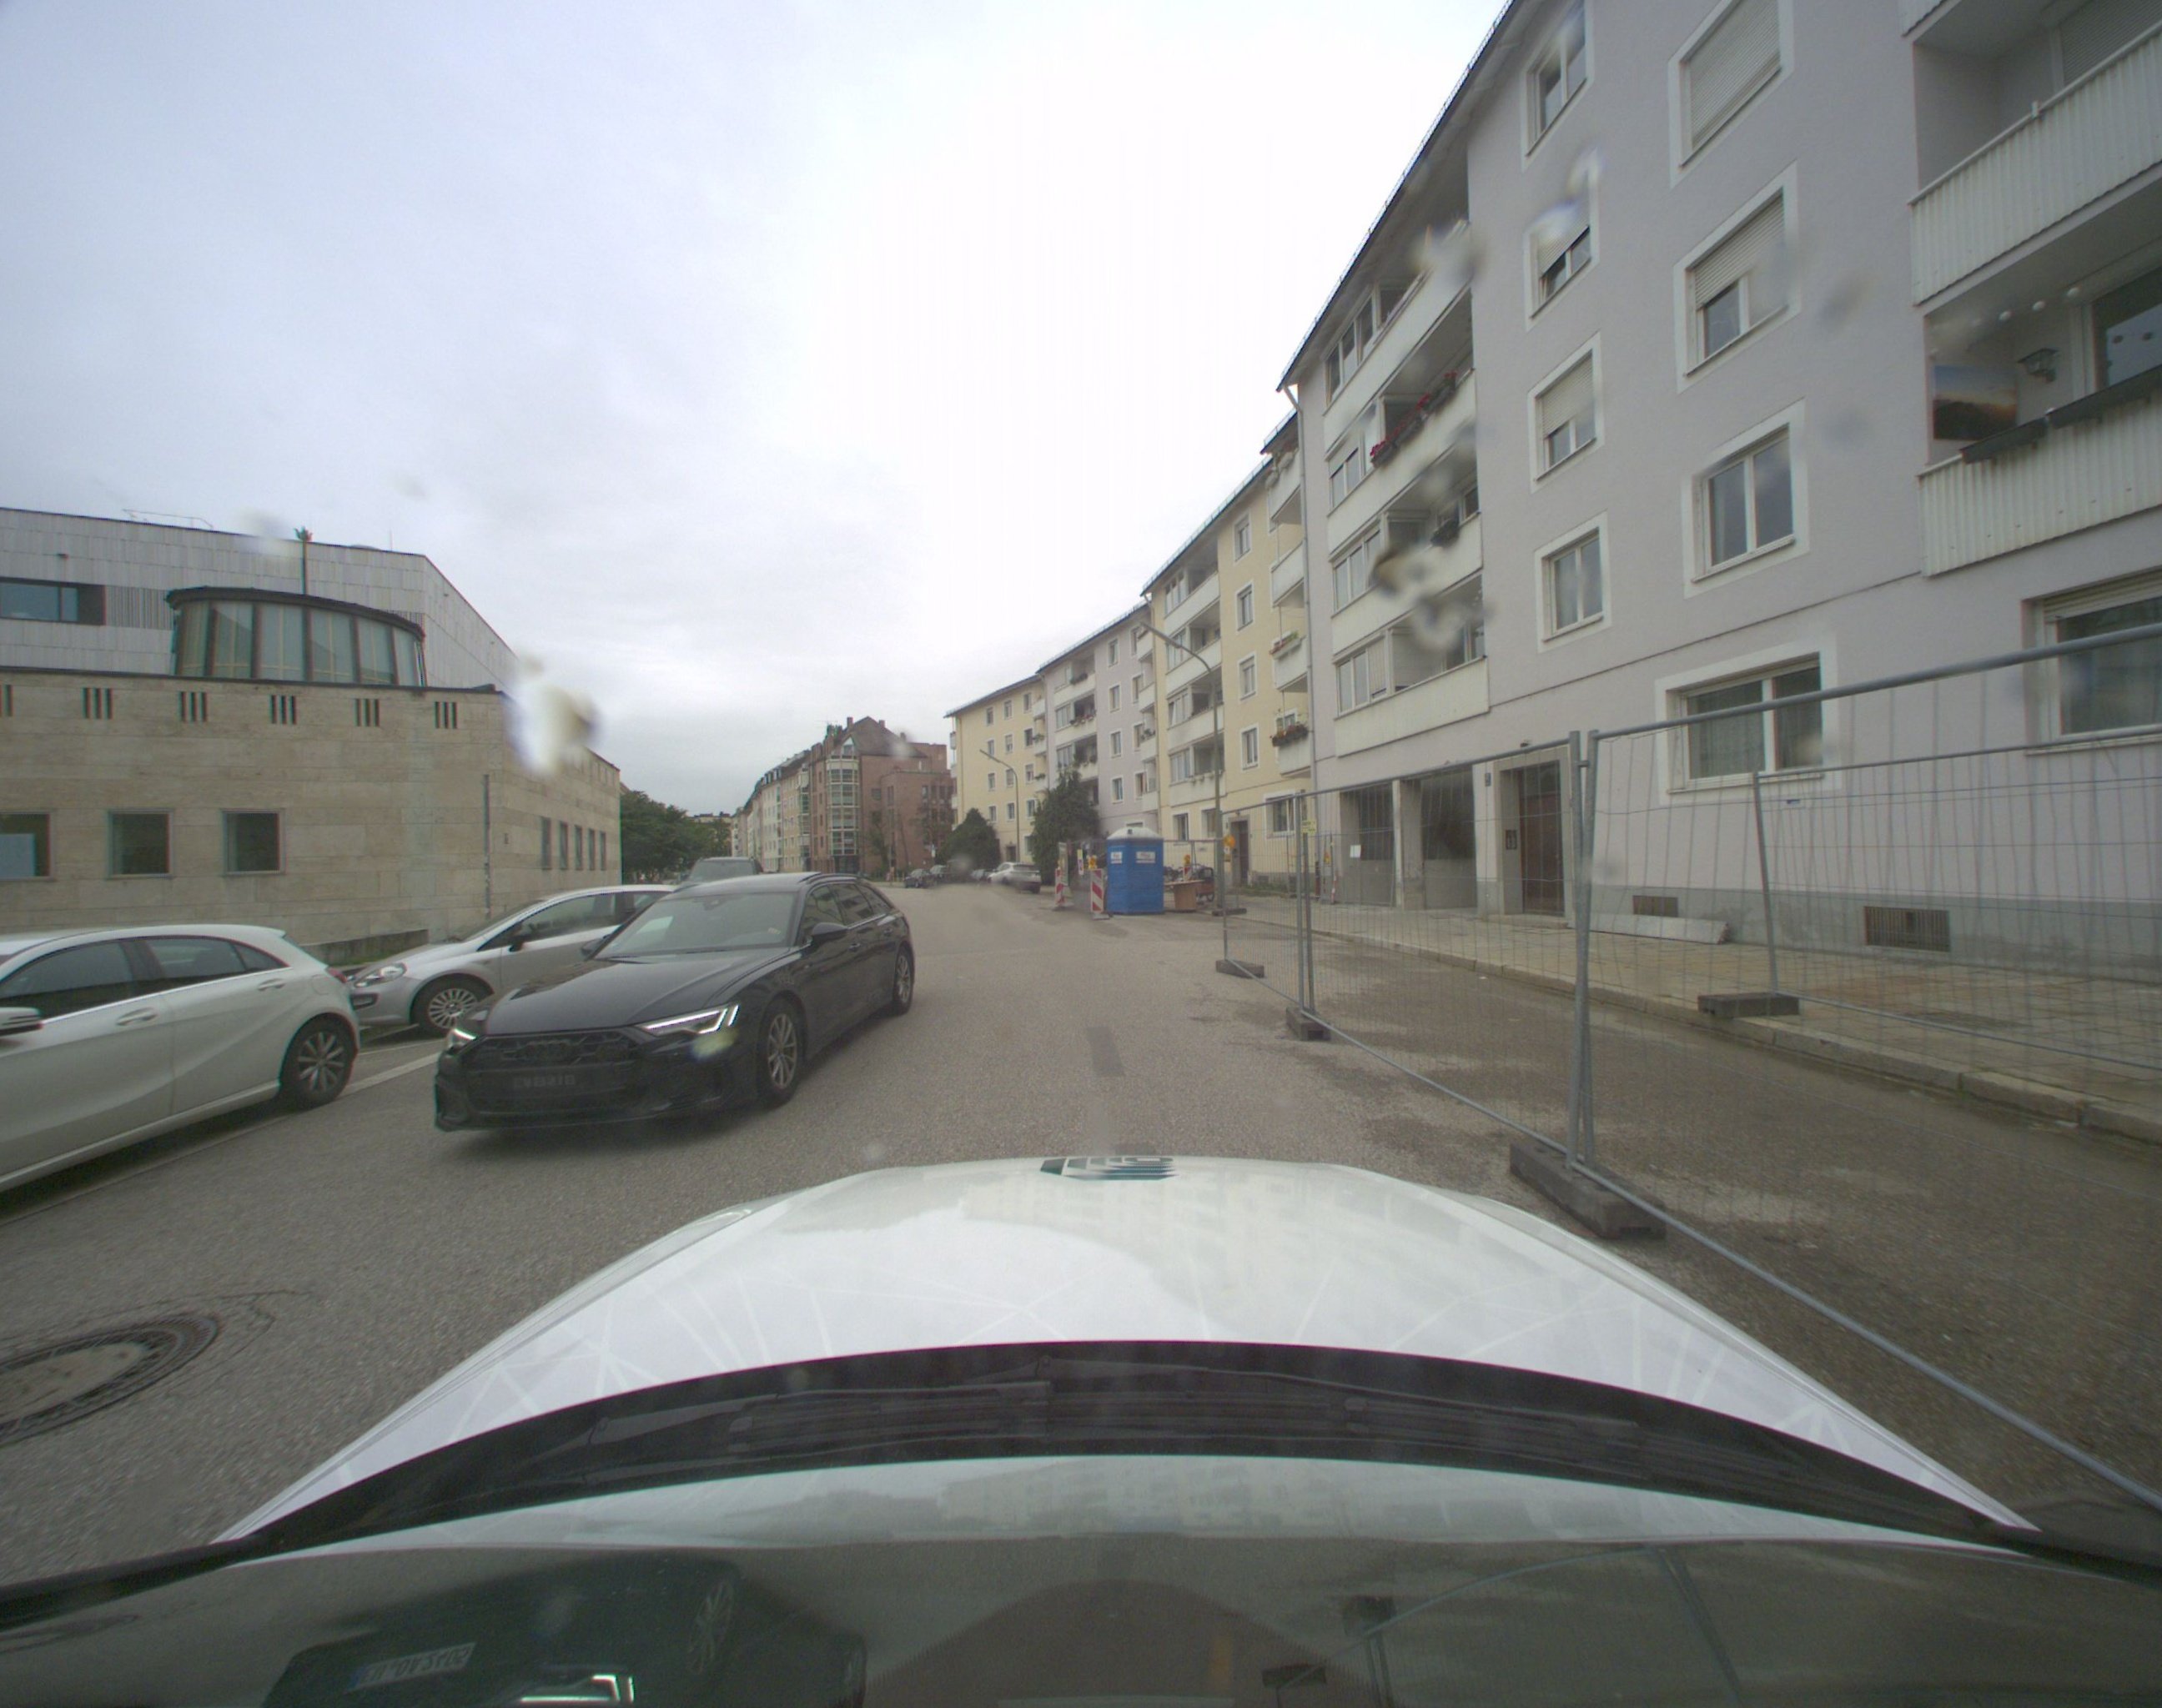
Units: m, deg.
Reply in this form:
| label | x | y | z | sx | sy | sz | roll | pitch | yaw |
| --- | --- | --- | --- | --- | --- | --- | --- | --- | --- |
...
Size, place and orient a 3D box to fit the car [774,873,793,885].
| label | x | y | z | sx | sy | sz | roll | pitch | yaw |
| --- | --- | --- | --- | --- | --- | --- | --- | --- | --- |
| car | -36.806 | 3.104 | 100.671 | 1.643 | 1.483 | 3.575 | -1 | -1 | -30 |

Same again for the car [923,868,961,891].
| label | x | y | z | sx | sy | sz | roll | pitch | yaw |
| --- | --- | --- | --- | --- | --- | --- | --- | --- | --- |
| car | -9.666 | 1.773 | 56.447 | 1.789 | 1.510 | 3.691 | -1 | -1 | -23 |

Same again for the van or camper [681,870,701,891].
| label | x | y | z | sx | sy | sz | roll | pitch | yaw |
| --- | --- | --- | --- | --- | --- | --- | --- | --- | --- |
| van or camper | -49.847 | 3.402 | 104.003 | 2.108 | 2.551 | 4.728 | -1 | -1 | -27 |

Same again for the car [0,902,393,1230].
| label | x | y | z | sx | sy | sz | roll | pitch | yaw |
| --- | --- | --- | --- | --- | --- | --- | --- | --- | --- |
| car | -6.304 | 1.155 | 4.387 | 1.993 | 1.451 | 4.201 | -4 | 0 | -9 |

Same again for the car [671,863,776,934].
| label | x | y | z | sx | sy | sz | roll | pitch | yaw |
| --- | --- | --- | --- | --- | --- | --- | --- | --- | --- |
| car | -9.983 | 1.187 | 23.118 | 2.056 | 1.736 | 4.858 | -1 | -1 | -16 |

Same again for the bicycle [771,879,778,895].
| label | x | y | z | sx | sy | sz | roll | pitch | yaw |
| --- | --- | --- | --- | --- | --- | --- | --- | --- | --- |
| bicycle | -19.229 | 2.049 | 51.089 | 0.390 | 0.969 | 1.704 | -1 | -1 | -20 |

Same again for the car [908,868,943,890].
| label | x | y | z | sx | sy | sz | roll | pitch | yaw |
| --- | --- | --- | --- | --- | --- | --- | --- | --- | --- |
| car | -11.563 | 1.837 | 60.469 | 1.789 | 1.510 | 3.691 | -2 | -1 | -23 |

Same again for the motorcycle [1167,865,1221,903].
| label | x | y | z | sx | sy | sz | roll | pitch | yaw |
| --- | --- | --- | --- | --- | --- | --- | --- | --- | --- |
| motorcycle | 3.836 | 1.013 | 27.994 | 0.933 | 1.221 | 2.494 | -1 | -1 | -15 |

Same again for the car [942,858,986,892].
| label | x | y | z | sx | sy | sz | roll | pitch | yaw |
| --- | --- | --- | --- | --- | --- | --- | --- | --- | --- |
| car | -7.454 | 1.311 | 51.496 | 1.789 | 1.976 | 3.691 | -3 | 0 | -23 |

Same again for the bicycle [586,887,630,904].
| label | x | y | z | sx | sy | sz | roll | pitch | yaw |
| --- | --- | --- | --- | --- | --- | --- | --- | --- | --- |
| bicycle | -25.810 | 2.267 | 44.471 | 2.043 | 0.886 | 0.668 | 3 | -3 | -31 |

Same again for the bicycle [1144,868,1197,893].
| label | x | y | z | sx | sy | sz | roll | pitch | yaw |
| --- | --- | --- | --- | --- | --- | --- | --- | --- | --- |
| bicycle | 4.120 | 1.205 | 37.398 | 2.236 | 1.069 | 0.915 | -1 | -1 | -15 |

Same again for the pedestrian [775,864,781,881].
| label | x | y | z | sx | sy | sz | roll | pitch | yaw |
| --- | --- | --- | --- | --- | --- | --- | --- | --- | --- |
| pedestrian | -27.134 | 1.643 | 72.895 | 0.463 | 1.460 | 0.440 | -1 | -2 | -20 |

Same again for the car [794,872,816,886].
| label | x | y | z | sx | sy | sz | roll | pitch | yaw |
| --- | --- | --- | --- | --- | --- | --- | --- | --- | --- |
| car | -31.184 | 2.791 | 91.902 | 1.643 | 1.483 | 3.575 | -1 | 0 | -30 |

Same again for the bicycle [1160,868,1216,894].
| label | x | y | z | sx | sy | sz | roll | pitch | yaw |
| --- | --- | --- | --- | --- | --- | --- | --- | --- | --- |
| bicycle | 4.727 | 1.188 | 35.990 | 2.236 | 1.069 | 0.915 | -1 | -1 | -15 |

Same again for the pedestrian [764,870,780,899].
| label | x | y | z | sx | sy | sz | roll | pitch | yaw |
| --- | --- | --- | --- | --- | --- | --- | --- | --- | --- |
| pedestrian | -19.264 | 1.868 | 50.749 | 0.735 | 1.768 | 0.917 | -2 | -1 | -10 |

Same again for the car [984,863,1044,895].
| label | x | y | z | sx | sy | sz | roll | pitch | yaw |
| --- | --- | --- | --- | --- | --- | --- | --- | --- | --- |
| car | -3.580 | 1.284 | 42.844 | 1.840 | 1.574 | 3.966 | -1 | -1 | -26 |

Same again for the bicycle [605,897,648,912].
| label | x | y | z | sx | sy | sz | roll | pitch | yaw |
| --- | --- | --- | --- | --- | --- | --- | --- | --- | --- |
| bicycle | -26.530 | 2.945 | 47.526 | 2.128 | 0.879 | 0.820 | 3 | -3 | -31 |

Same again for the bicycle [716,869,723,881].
| label | x | y | z | sx | sy | sz | roll | pitch | yaw |
| --- | --- | --- | --- | --- | --- | --- | --- | --- | --- |
| bicycle | -67.345 | 3.866 | 151.687 | 1.031 | 2.014 | 3.252 | -1 | -5 | -26 |

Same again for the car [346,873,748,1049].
| label | x | y | z | sx | sy | sz | roll | pitch | yaw |
| --- | --- | --- | --- | --- | --- | --- | --- | --- | --- |
| car | -6.393 | 1.140 | 10.018 | 3.830 | 1.507 | 1.694 | -4 | -1 | -41 |

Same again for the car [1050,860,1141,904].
| label | x | y | z | sx | sy | sz | roll | pitch | yaw |
| --- | --- | --- | --- | --- | --- | --- | --- | --- | --- |
| car | 0.424 | 0.983 | 29.604 | 1.788 | 1.438 | 4.250 | -1 | -1 | -22 |

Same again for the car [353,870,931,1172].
| label | x | y | z | sx | sy | sz | roll | pitch | yaw |
| --- | --- | --- | --- | --- | --- | --- | --- | --- | --- |
| car | -2.760 | 0.929 | 6.646 | 1.912 | 1.412 | 4.707 | -4 | 0 | 3 |

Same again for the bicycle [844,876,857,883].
| label | x | y | z | sx | sy | sz | roll | pitch | yaw |
| --- | --- | --- | --- | --- | --- | --- | --- | --- | --- |
| bicycle | -28.507 | 3.155 | 100.539 | 1.109 | 0.854 | 1.710 | -1 | -1 | -33 |

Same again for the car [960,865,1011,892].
| label | x | y | z | sx | sy | sz | roll | pitch | yaw |
| --- | --- | --- | --- | --- | --- | --- | --- | --- | --- |
| car | -5.606 | 1.422 | 47.483 | 1.791 | 1.519 | 3.687 | 0 | -1 | -27 |

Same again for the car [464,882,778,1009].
| label | x | y | z | sx | sy | sz | roll | pitch | yaw |
| --- | --- | --- | --- | --- | --- | --- | --- | --- | --- |
| car | -7.229 | 1.332 | 13.036 | 4.021 | 1.421 | 1.792 | -4 | -1 | -42 |
